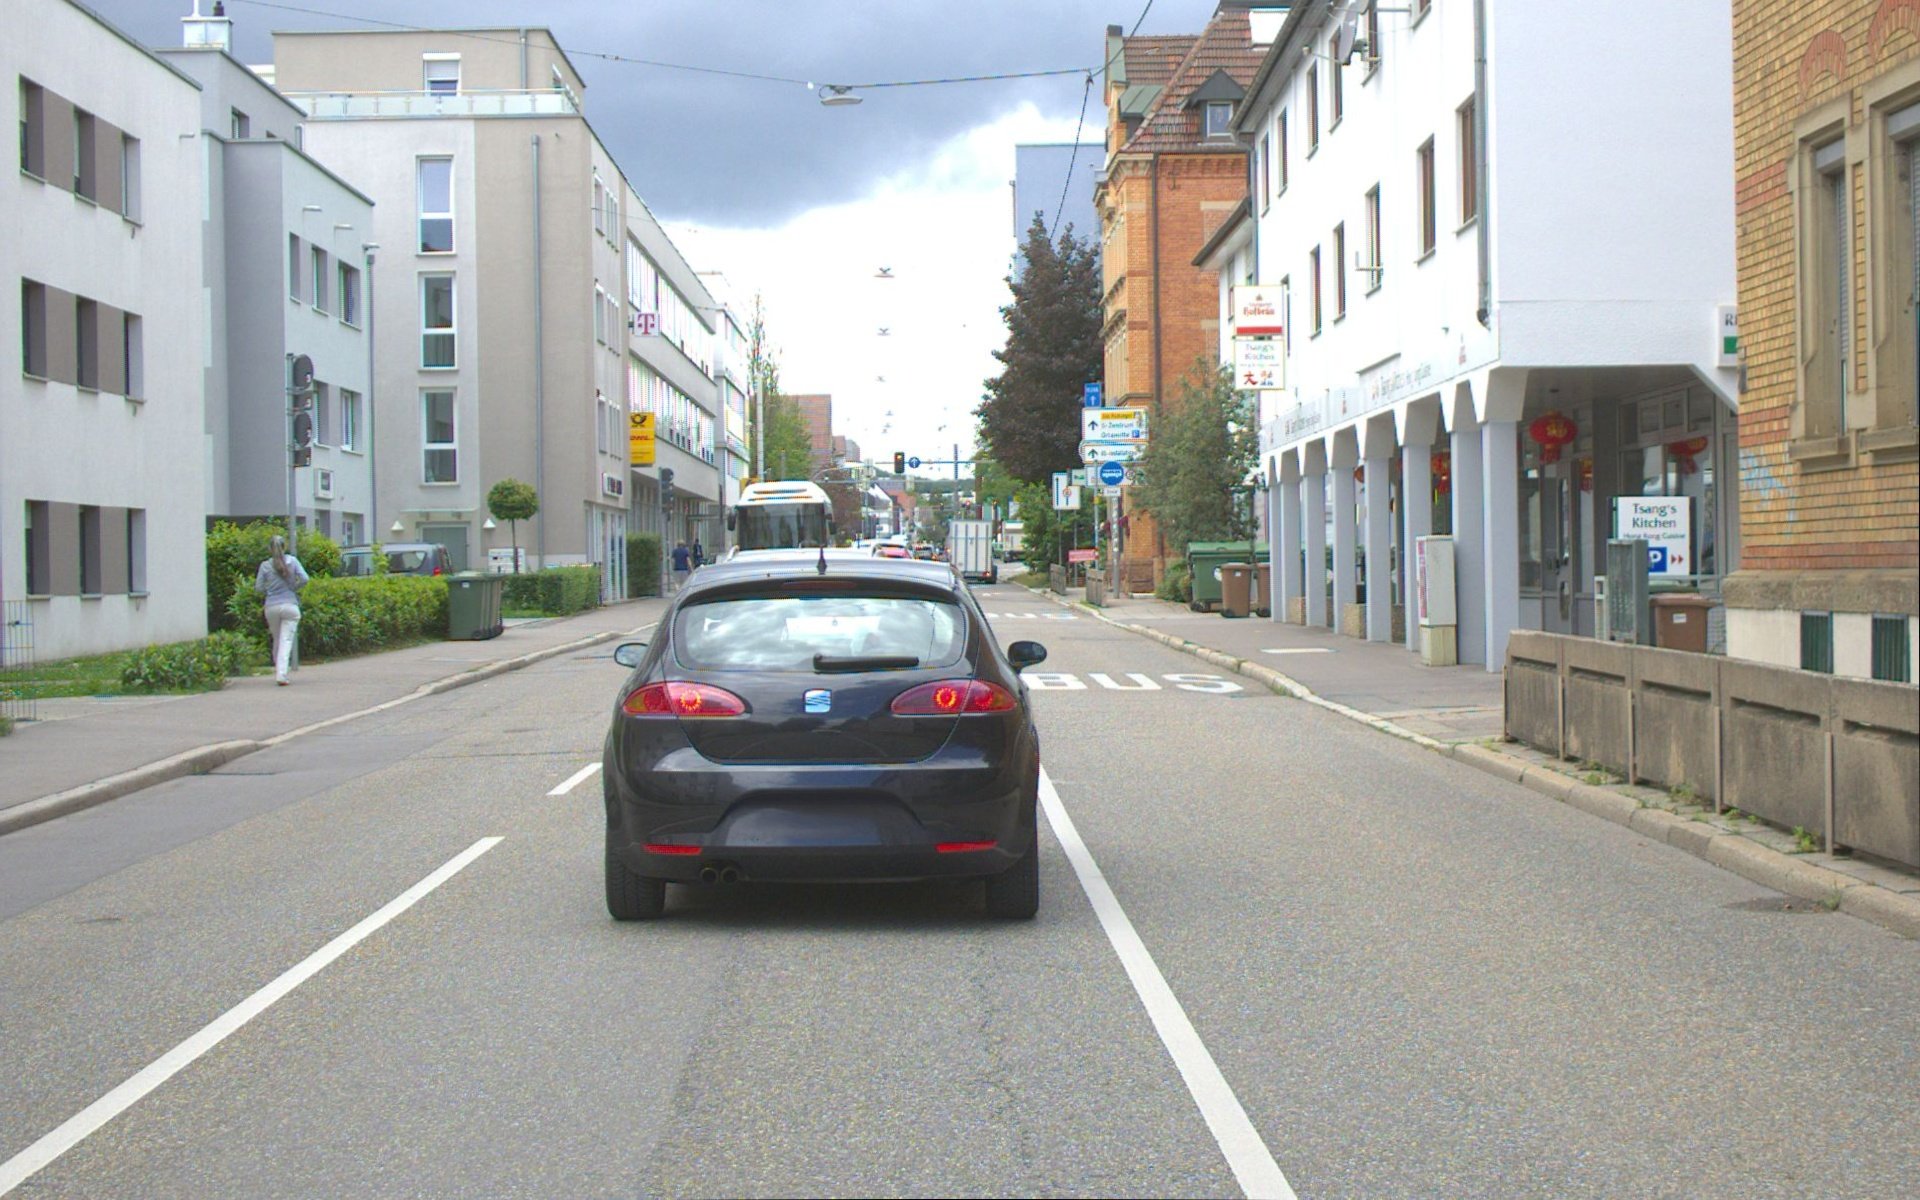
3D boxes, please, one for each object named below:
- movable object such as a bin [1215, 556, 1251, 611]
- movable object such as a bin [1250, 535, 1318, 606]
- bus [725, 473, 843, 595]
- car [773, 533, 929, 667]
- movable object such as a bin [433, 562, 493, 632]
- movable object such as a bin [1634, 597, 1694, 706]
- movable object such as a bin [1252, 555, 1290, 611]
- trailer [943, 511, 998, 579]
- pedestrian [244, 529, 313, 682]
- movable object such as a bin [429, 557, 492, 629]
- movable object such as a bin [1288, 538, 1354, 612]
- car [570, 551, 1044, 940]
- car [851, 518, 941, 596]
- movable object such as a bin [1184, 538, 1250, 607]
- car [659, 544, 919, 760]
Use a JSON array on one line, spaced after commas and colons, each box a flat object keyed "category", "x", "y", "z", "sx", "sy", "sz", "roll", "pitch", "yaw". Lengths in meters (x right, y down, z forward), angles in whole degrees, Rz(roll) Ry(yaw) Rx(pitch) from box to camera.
[{"category": "movable object such as a bin", "x": 5.341, "y": -0.332, "z": 67.251, "sx": 0.683, "sy": 1.063, "sz": 0.971, "roll": 0, "pitch": 1, "yaw": 3}, {"category": "movable object such as a bin", "x": 6.679, "y": -0.612, "z": 70.910, "sx": 1.267, "sy": 1.430, "sz": 1.307, "roll": -1, "pitch": 1, "yaw": 0}, {"category": "bus", "x": -5.055, "y": -1.936, "z": 100.824, "sx": 2.942, "sy": 3.262, "sz": 12.009, "roll": -2, "pitch": 1, "yaw": -1}, {"category": "car", "x": -1.321, "y": -0.027, "z": 42.141, "sx": 1.803, "sy": 1.547, "sz": 3.738, "roll": -1, "pitch": 1, "yaw": -1}, {"category": "movable object such as a bin", "x": -7.886, "y": -0.049, "z": 54.571, "sx": 0.894, "sy": 1.085, "sz": 0.793, "roll": -1, "pitch": 1, "yaw": -5}, {"category": "movable object such as a bin", "x": 5.910, "y": 0.430, "z": 28.859, "sx": 0.397, "sy": 0.900, "sz": 0.456, "roll": -1, "pitch": 1, "yaw": 0}, {"category": "movable object such as a bin", "x": 6.071, "y": -0.336, "z": 67.227, "sx": 0.698, "sy": 1.075, "sz": 0.971, "roll": 0, "pitch": 1, "yaw": 3}, {"category": "trailer", "x": 0.402, "y": -2.174, "z": 135.237, "sx": 1.993, "sy": 2.598, "sz": 5.350, "roll": -1, "pitch": 1, "yaw": -1}, {"category": "pedestrian", "x": -7.400, "y": 0.054, "z": 37.345, "sx": 0.638, "sy": 1.637, "sz": 0.520, "roll": -1, "pitch": 1, "yaw": -1}, {"category": "movable object such as a bin", "x": -8.048, "y": -0.116, "z": 55.421, "sx": 0.956, "sy": 1.147, "sz": 0.840, "roll": -1, "pitch": 1, "yaw": -5}, {"category": "movable object such as a bin", "x": 7.023, "y": -0.498, "z": 66.877, "sx": 1.209, "sy": 1.412, "sz": 1.259, "roll": 0, "pitch": 1, "yaw": 3}, {"category": "car", "x": -0.596, "y": 0.519, "z": 14.835, "sx": 1.765, "sy": 1.428, "sz": 3.828, "roll": -1, "pitch": 1, "yaw": -1}, {"category": "car", "x": -1.329, "y": -0.900, "z": 71.175, "sx": 1.803, "sy": 1.547, "sz": 3.738, "roll": -1, "pitch": 1, "yaw": -1}, {"category": "movable object such as a bin", "x": 5.322, "y": -0.580, "z": 71.170, "sx": 1.267, "sy": 1.412, "sz": 1.162, "roll": -1, "pitch": 1, "yaw": 0}, {"category": "car", "x": -1.239, "y": 0.334, "z": 25.917, "sx": 1.803, "sy": 1.487, "sz": 3.738, "roll": -1, "pitch": 1, "yaw": -1}]
